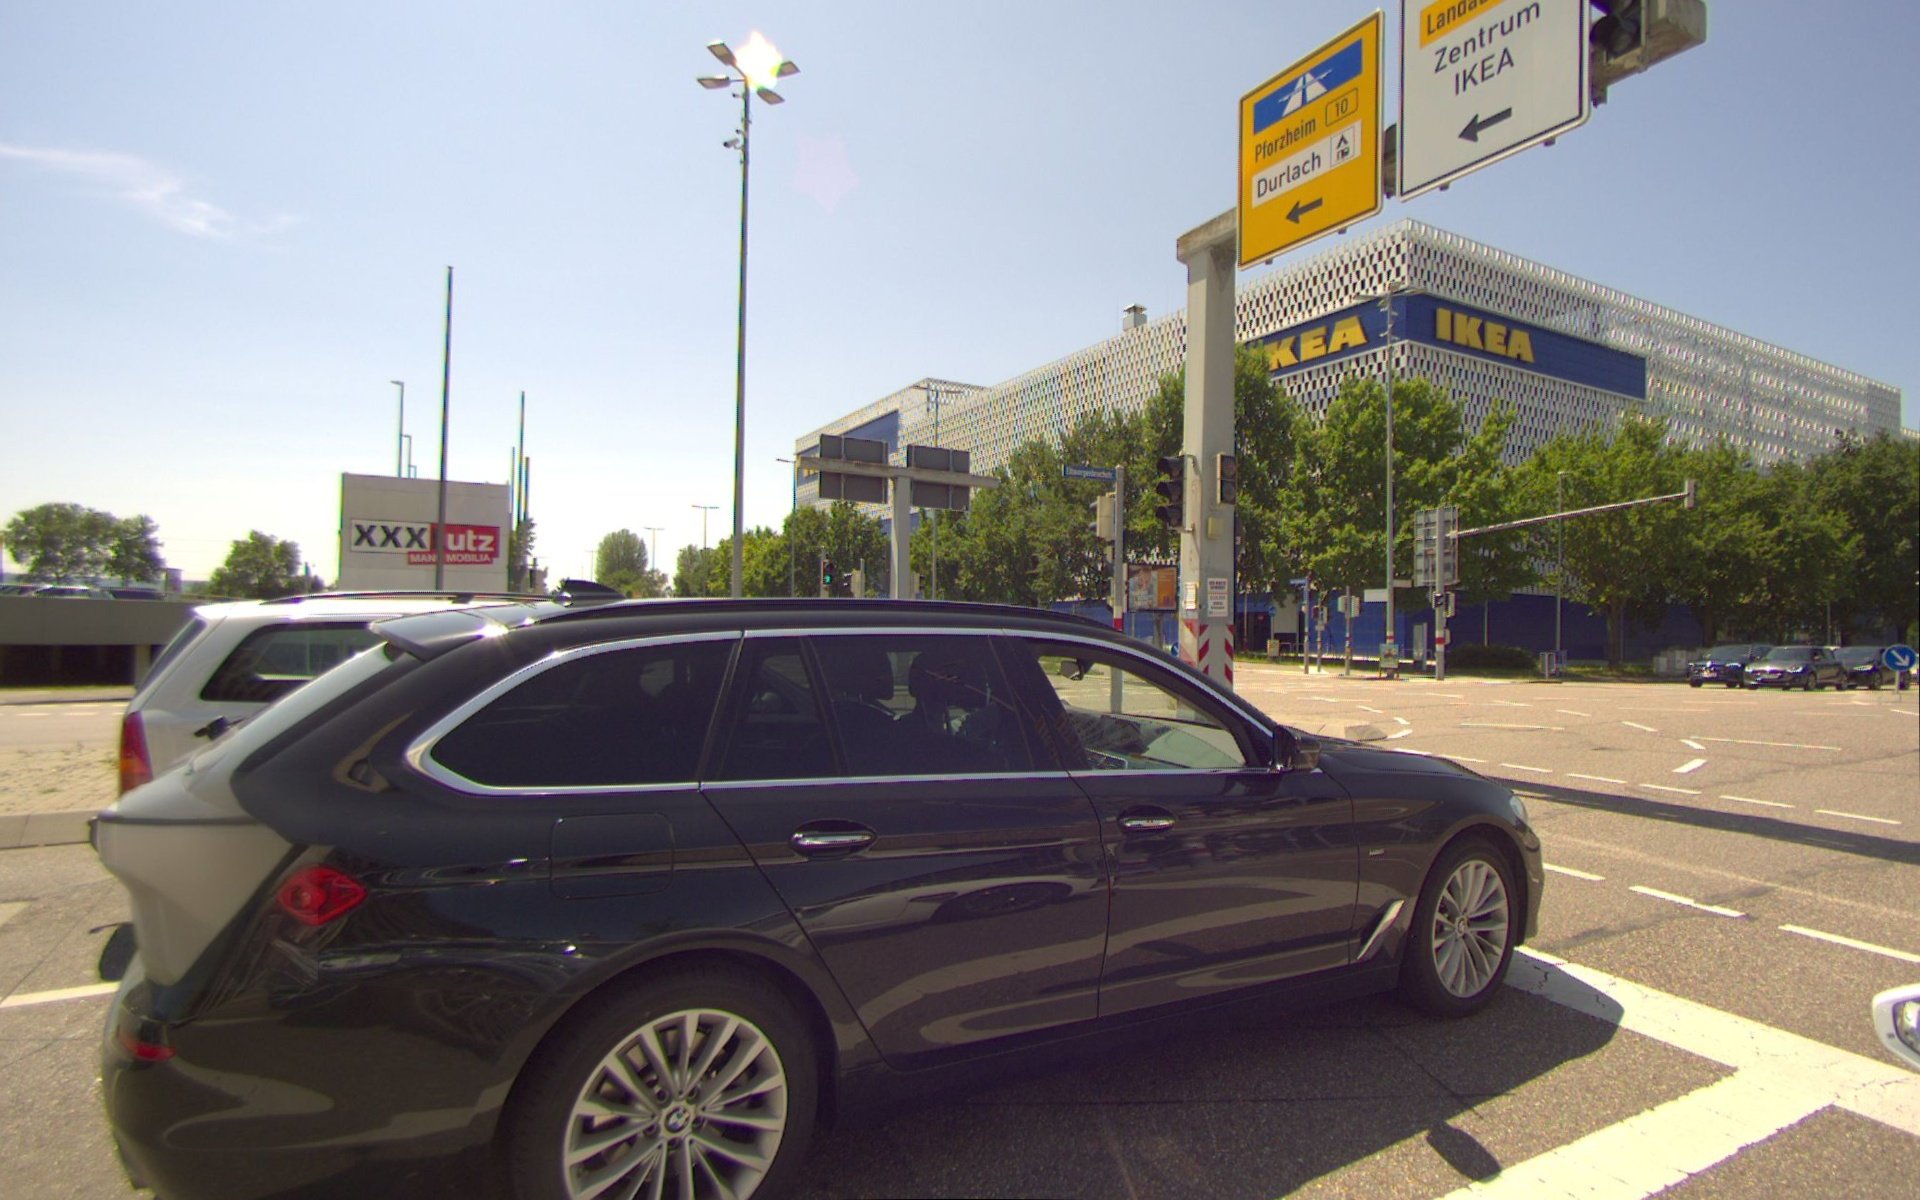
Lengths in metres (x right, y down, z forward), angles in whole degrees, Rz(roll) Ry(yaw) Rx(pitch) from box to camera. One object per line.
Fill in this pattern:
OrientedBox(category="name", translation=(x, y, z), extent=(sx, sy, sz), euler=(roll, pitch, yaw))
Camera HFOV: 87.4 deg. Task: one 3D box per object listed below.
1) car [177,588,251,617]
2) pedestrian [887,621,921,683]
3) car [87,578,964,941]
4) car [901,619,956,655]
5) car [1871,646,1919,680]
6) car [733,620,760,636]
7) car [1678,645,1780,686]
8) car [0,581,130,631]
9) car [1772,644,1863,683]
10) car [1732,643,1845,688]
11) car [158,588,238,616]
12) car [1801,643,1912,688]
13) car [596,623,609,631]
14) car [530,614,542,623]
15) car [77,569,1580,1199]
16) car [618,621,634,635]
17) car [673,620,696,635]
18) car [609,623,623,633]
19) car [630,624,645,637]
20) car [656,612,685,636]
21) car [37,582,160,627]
OrientedBox(category="car", translation=(-57.602, 0.199, 77.661), extent=(4.278, 2.040, 1.985), euler=(2, -2, -30))
OrientedBox(category="pedestrian", translation=(-1.671, 1.548, 29.989), extent=(0.816, 1.807, 0.601), euler=(2, -2, -27))
OrientedBox(category="car", translation=(-2.110, 0.662, 5.684), extent=(3.959, 1.441, 1.685), euler=(1, 0, -29))
OrientedBox(category="car", translation=(-1.869, 2.127, 58.069), extent=(1.750, 2.040, 3.813), euler=(1, -2, -26))
OrientedBox(category="car", translation=(43.691, 2.911, 46.154), extent=(3.870, 1.505, 1.642), euler=(3, -3, -31))
OrientedBox(category="car", translation=(-24.912, 3.284, 117.131), extent=(2.031, 1.769, 3.860), euler=(2, -2, -29))
OrientedBox(category="car", translation=(28.696, 2.445, 37.470), extent=(3.992, 1.442, 1.653), euler=(3, -3, -31))
OrientedBox(category="car", translation=(-39.559, 0.287, 44.281), extent=(4.284, 2.040, 1.982), euler=(2, -2, -34))
OrientedBox(category="car", translation=(35.634, 2.645, 41.737), extent=(3.870, 1.564, 1.718), euler=(3, -3, -31))
OrientedBox(category="car", translation=(27.147, 2.165, 32.885), extent=(3.671, 1.407, 1.637), euler=(3, -4, -30))
OrientedBox(category="car", translation=(-52.262, 0.159, 68.984), extent=(4.086, 1.764, 1.770), euler=(2, -2, -30))
OrientedBox(category="car", translation=(32.334, 2.371, 36.207), extent=(4.193, 1.524, 1.719), euler=(3, -4, -30))
OrientedBox(category="car", translation=(-60.698, 4.542, 170.427), extent=(1.608, 1.368, 3.472), euler=(2, -2, -29))
OrientedBox(category="car", translation=(-78.571, 3.456, 186.091), extent=(1.836, 1.528, 3.971), euler=(2, -2, -28))
OrientedBox(category="car", translation=(0.067, 0.750, 3.550), extent=(4.505, 1.459, 1.788), euler=(2, -1, -31))
OrientedBox(category="car", translation=(-49.547, 4.157, 149.071), extent=(1.609, 1.938, 3.471), euler=(2, -2, -30))
OrientedBox(category="car", translation=(-35.739, 3.618, 130.311), extent=(1.944, 1.903, 3.860), euler=(2, -2, -29))
OrientedBox(category="car", translation=(-55.384, 4.534, 161.737), extent=(1.608, 1.629, 3.471), euler=(2, -2, -29))
OrientedBox(category="car", translation=(-45.867, 4.295, 142.787), extent=(1.607, 1.835, 3.474), euler=(1, -2, -27))
OrientedBox(category="car", translation=(-27.662, 2.317, 95.862), extent=(1.973, 2.212, 5.019), euler=(1, -2, -25))
OrientedBox(category="car", translation=(-42.054, 0.260, 49.164), extent=(4.285, 2.040, 1.981), euler=(2, -2, -34))
